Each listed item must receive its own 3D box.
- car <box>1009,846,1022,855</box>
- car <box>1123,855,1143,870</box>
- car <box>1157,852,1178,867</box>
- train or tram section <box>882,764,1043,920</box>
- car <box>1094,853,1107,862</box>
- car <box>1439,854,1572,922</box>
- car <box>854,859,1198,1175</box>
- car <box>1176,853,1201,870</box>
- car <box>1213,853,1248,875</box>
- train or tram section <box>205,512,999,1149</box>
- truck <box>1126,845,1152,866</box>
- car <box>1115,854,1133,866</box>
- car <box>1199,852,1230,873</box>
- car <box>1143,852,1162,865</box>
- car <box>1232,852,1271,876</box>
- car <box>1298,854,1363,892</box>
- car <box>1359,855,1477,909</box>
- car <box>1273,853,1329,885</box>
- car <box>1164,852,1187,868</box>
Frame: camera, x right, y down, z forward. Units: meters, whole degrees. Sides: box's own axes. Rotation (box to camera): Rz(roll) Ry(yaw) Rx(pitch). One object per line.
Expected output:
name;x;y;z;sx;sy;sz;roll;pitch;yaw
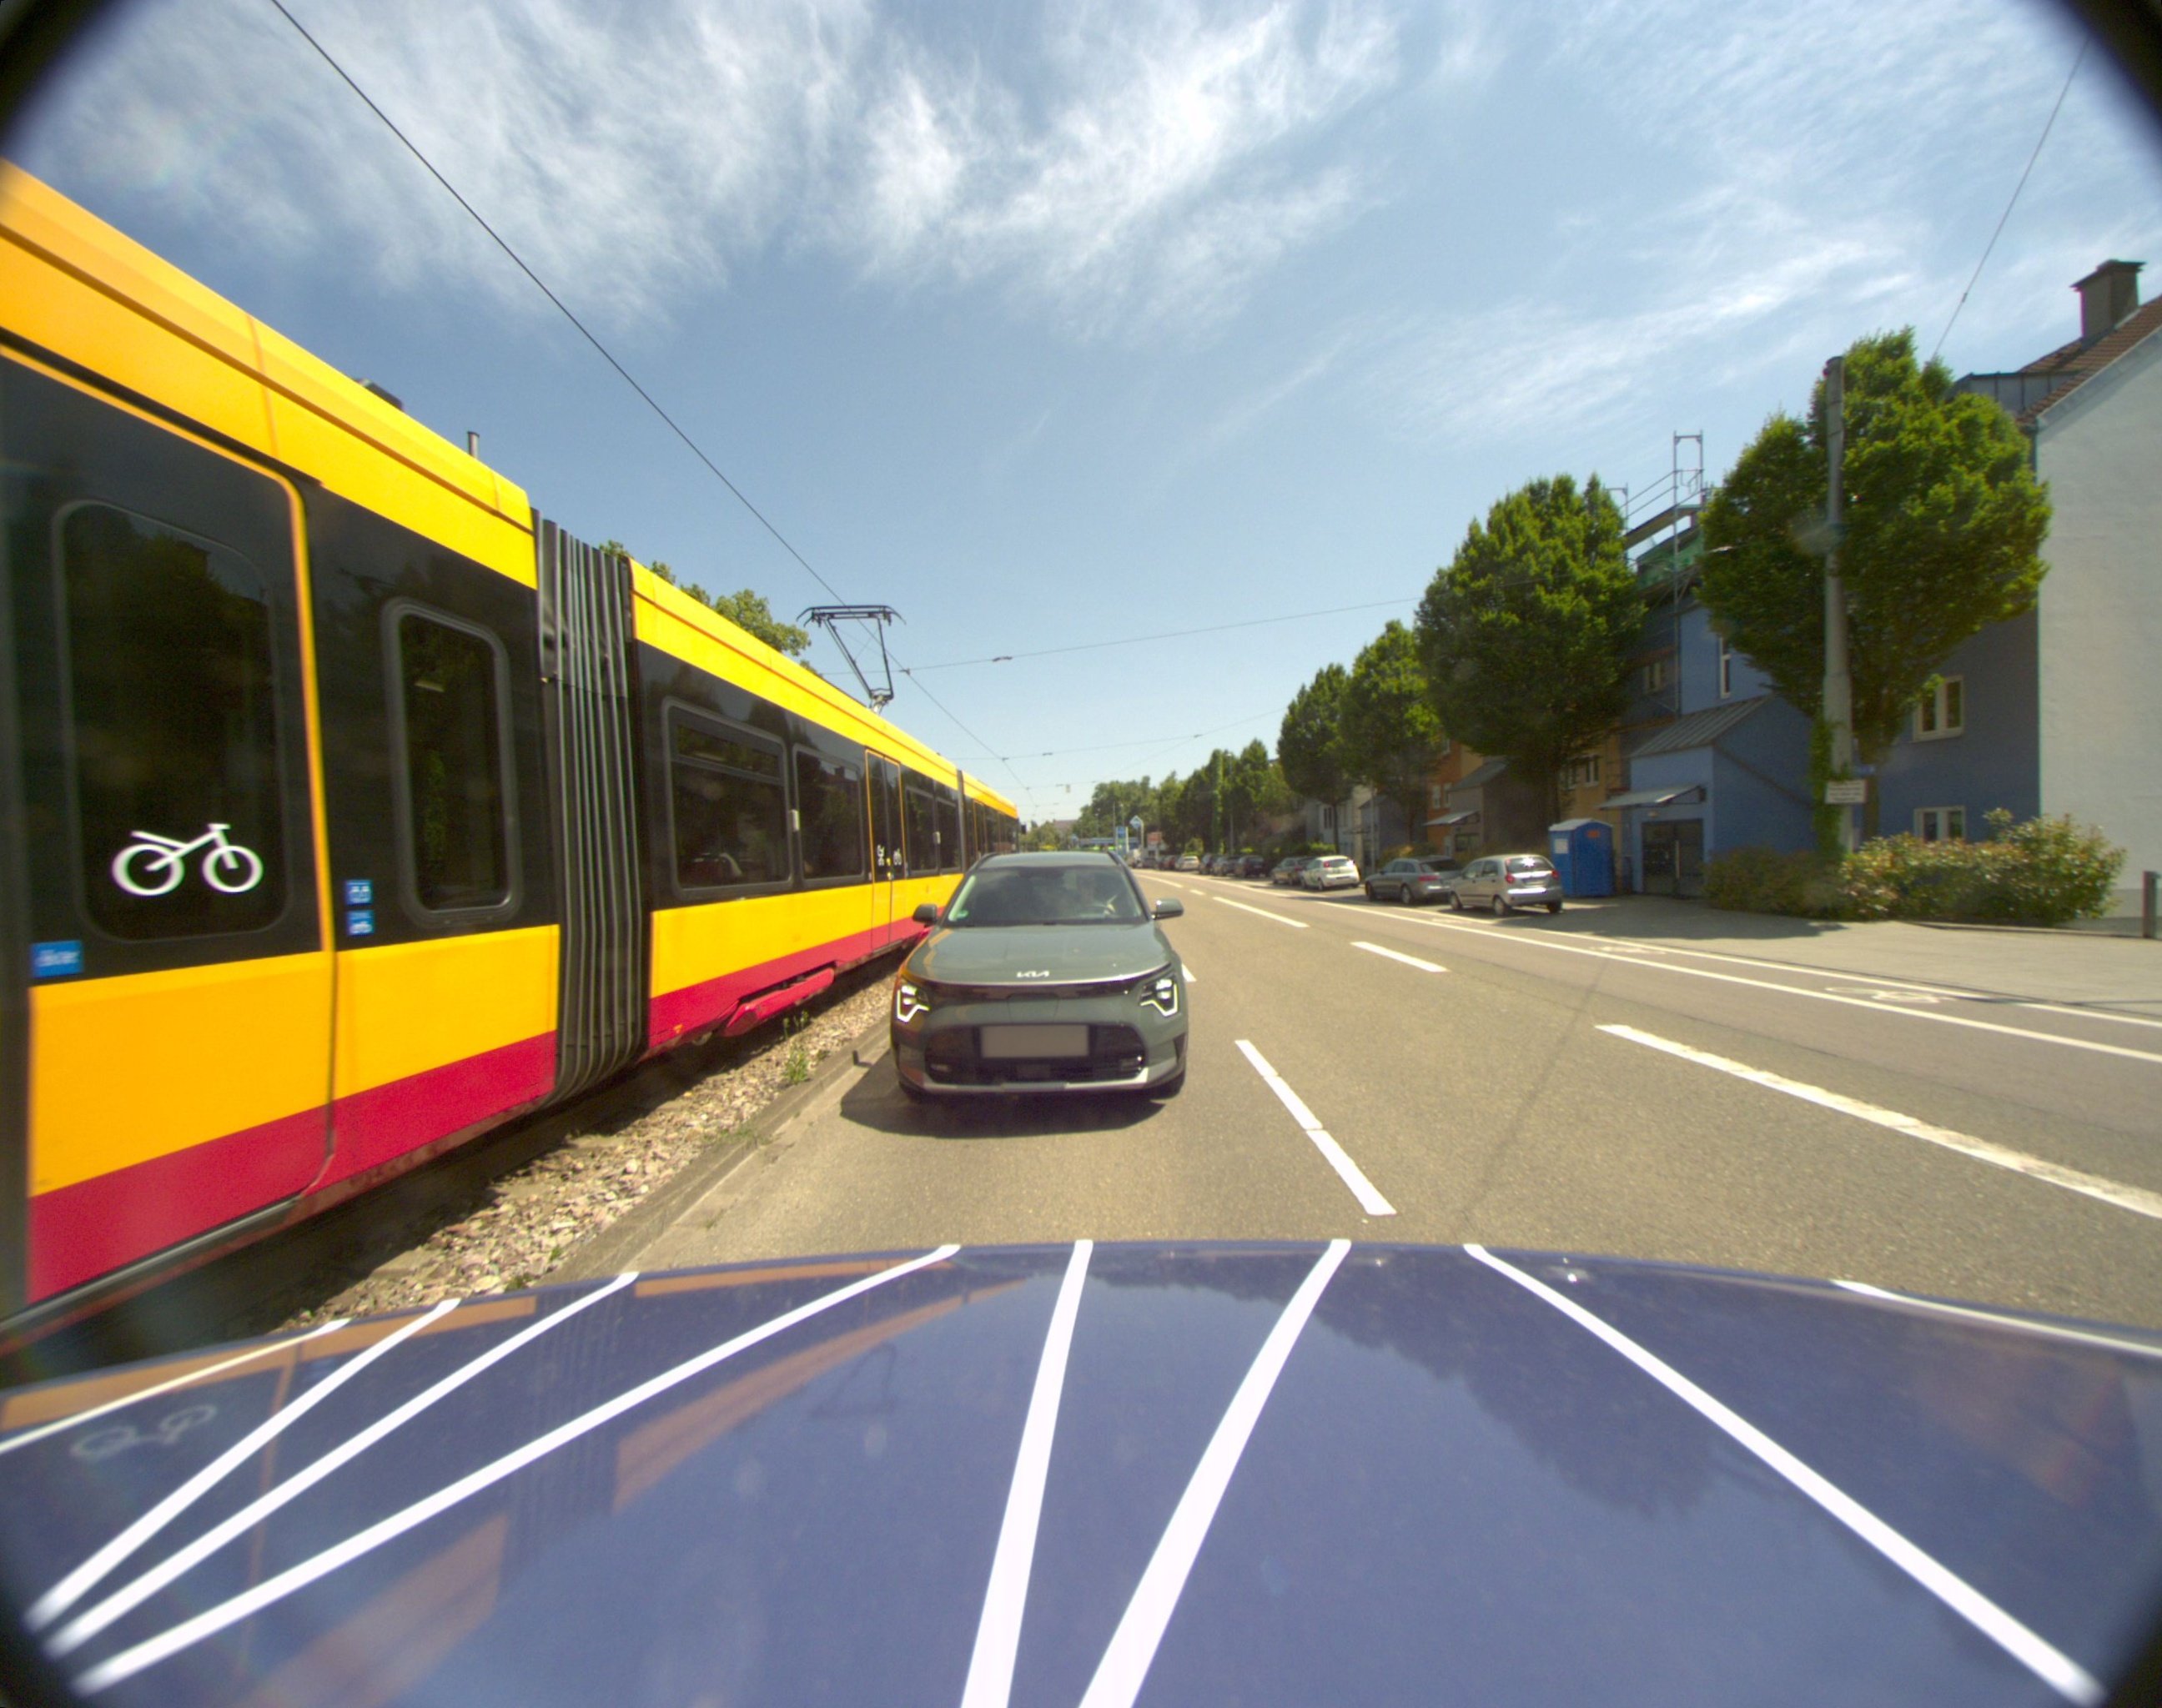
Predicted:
car;-11.015;-0.534;127.628;1.865;1.487;3.470;-1;0;-1
car;6.049;0.966;88.817;1.865;1.487;3.470;-5;0;0
car;9.601;0.638;84.592;1.865;1.487;3.470;-5;0;0
train or tram section;-3.310;-0.370;26.031;2.783;3.786;14.261;-2;1;1
car;3.187;0.535;123.642;1.865;1.487;3.470;-1;0;-1
car;10.961;0.822;19.868;1.505;1.487;3.282;-5;0;0
car;-0.259;0.876;6.220;1.759;1.574;4.427;-2;0;1
car;10.415;0.712;74.118;1.723;1.487;4.082;-5;0;0
car;11.095;0.701;56.453;1.656;1.487;4.082;-5;0;0
train or tram section;-3.688;-0.200;11.768;2.783;3.789;14.261;-2;1;1
truck;7.582;0.256;99.907;2.135;2.565;4.861;-5;0;-8
car;6.348;0.896;111.537;1.866;1.487;3.468;-5;0;-8
car;10.963;0.680;62.730;1.656;1.578;4.082;-5;0;0
car;8.799;0.558;93.809;1.865;1.487;3.470;-5;0;0
car;11.582;0.656;51.824;1.656;1.487;4.082;-5;0;0
car;11.395;0.826;34.903;1.656;1.487;3.649;-5;0;0
car;10.926;0.840;25.039;1.680;1.487;4.638;-5;0;0
car;11.537;0.738;40.163;1.656;1.487;4.082;-5;0;0
car;9.880;0.661;79.879;1.865;1.487;3.470;-5;0;0
